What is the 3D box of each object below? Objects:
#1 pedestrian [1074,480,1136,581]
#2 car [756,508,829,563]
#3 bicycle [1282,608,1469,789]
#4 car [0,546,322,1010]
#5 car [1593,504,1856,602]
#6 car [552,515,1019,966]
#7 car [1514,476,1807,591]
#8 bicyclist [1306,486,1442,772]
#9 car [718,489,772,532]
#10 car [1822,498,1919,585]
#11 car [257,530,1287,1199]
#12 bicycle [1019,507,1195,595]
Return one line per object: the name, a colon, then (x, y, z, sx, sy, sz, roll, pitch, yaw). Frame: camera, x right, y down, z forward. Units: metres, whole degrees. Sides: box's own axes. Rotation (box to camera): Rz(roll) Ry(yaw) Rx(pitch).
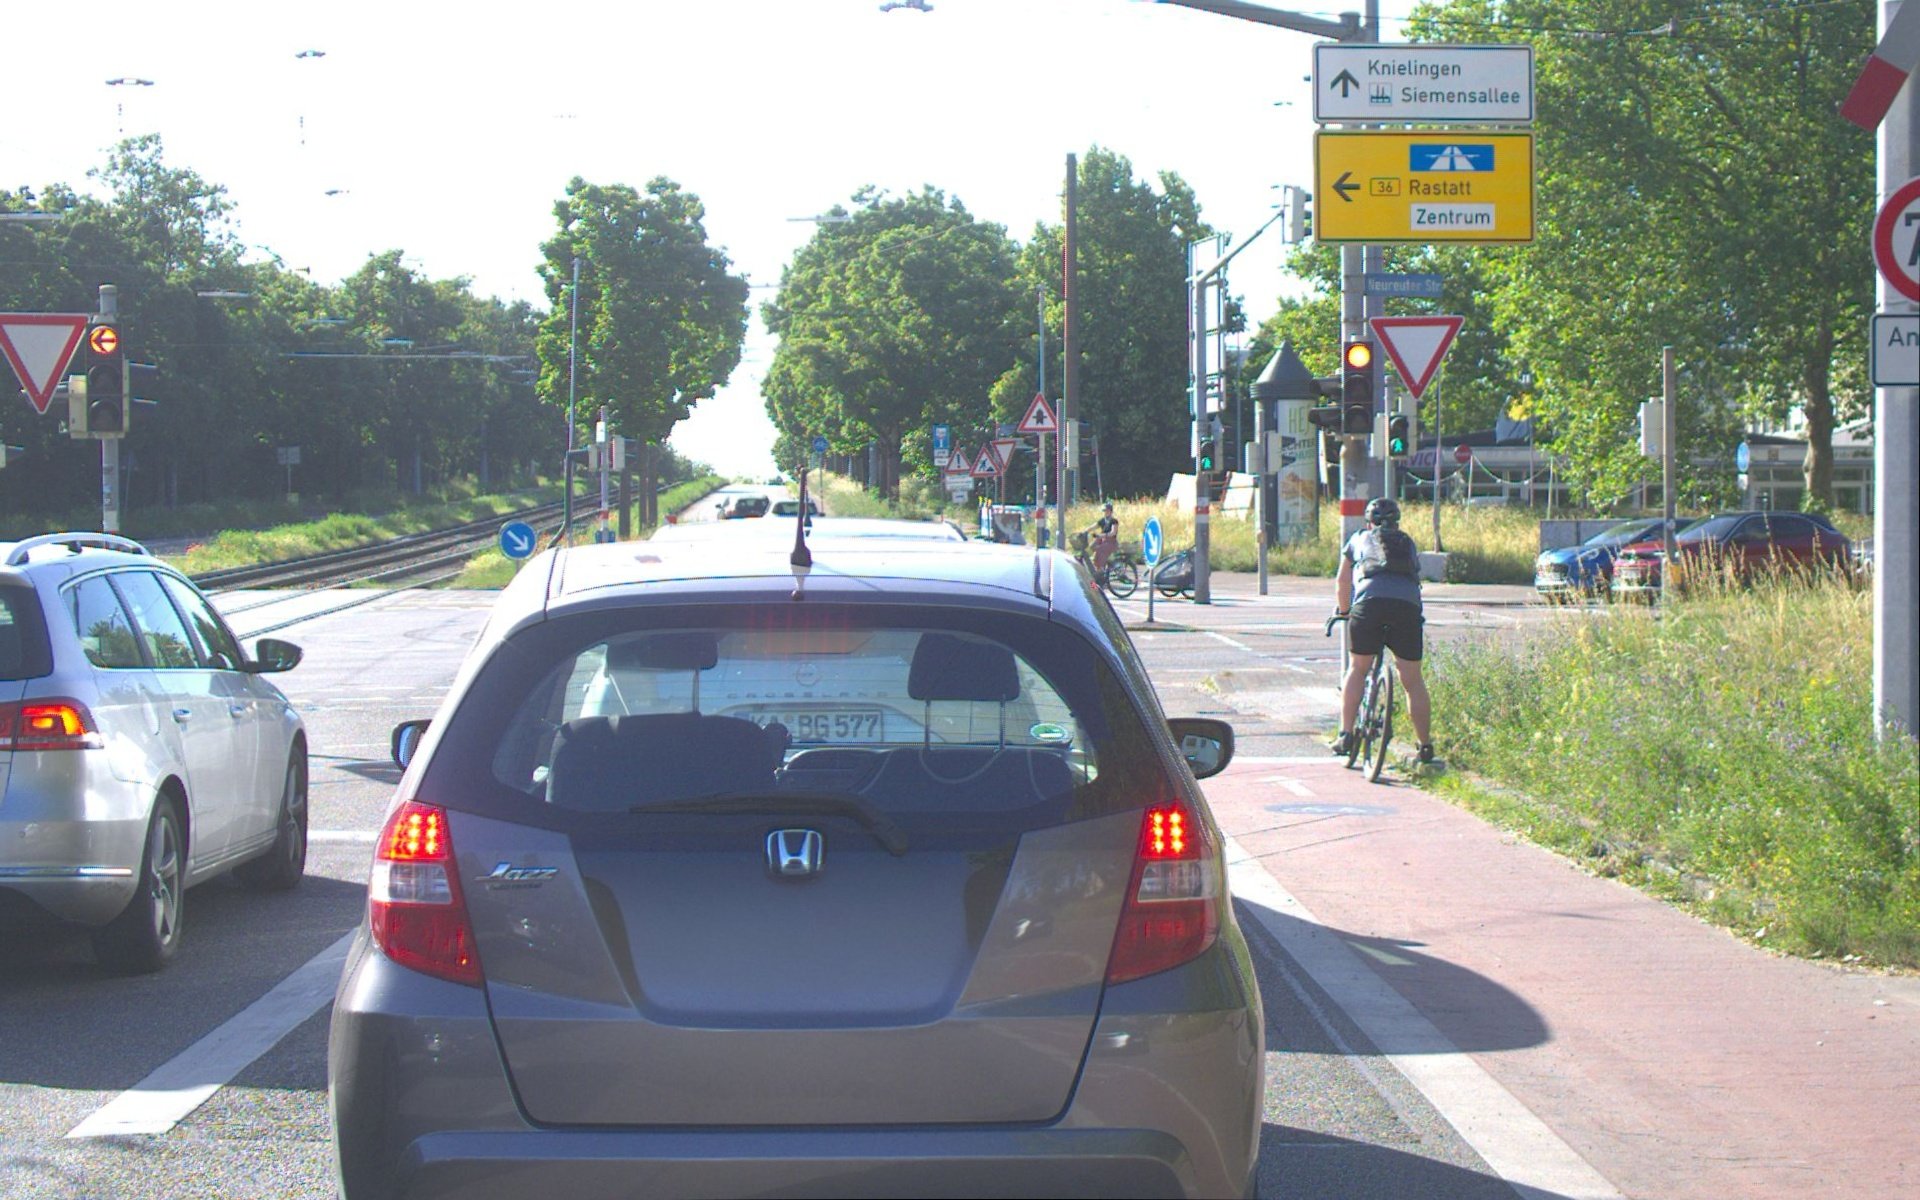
pedestrian: (2.645, -1.273, 62.899, 0.852, 1.830, 0.791, -1, 1, -26)
car: (-4.640, -1.793, 94.879, 1.709, 1.473, 4.001, -1, 1, -7)
bicycle: (2.531, 0.573, 21.268, 0.722, 0.985, 2.876, 1, 1, -1)
car: (-3.529, 0.526, 12.797, 1.619, 1.452, 4.085, 1, 1, -1)
car: (12.452, -0.778, 55.987, 3.986, 1.525, 1.606, -1, 1, -23)
car: (-0.645, 0.447, 14.015, 1.611, 1.557, 4.288, 0, 1, -1)
car: (12.280, -1.147, 60.271, 4.686, 1.873, 2.001, 1, 1, -23)
bicyclist: (2.543, 0.170, 21.183, 0.666, 1.710, 0.948, 1, 0, -1)
car: (-6.955, -2.880, 111.156, 1.522, 1.374, 3.677, -1, 1, -7)
car: (17.823, -1.094, 63.097, 3.742, 1.564, 1.491, -1, 1, -23)
car: (-0.391, 0.580, 7.380, 1.668, 1.457, 3.587, 0, 1, -3)
bicycle: (2.702, -0.907, 62.919, 3.203, 1.569, 0.821, -1, 1, -25)
